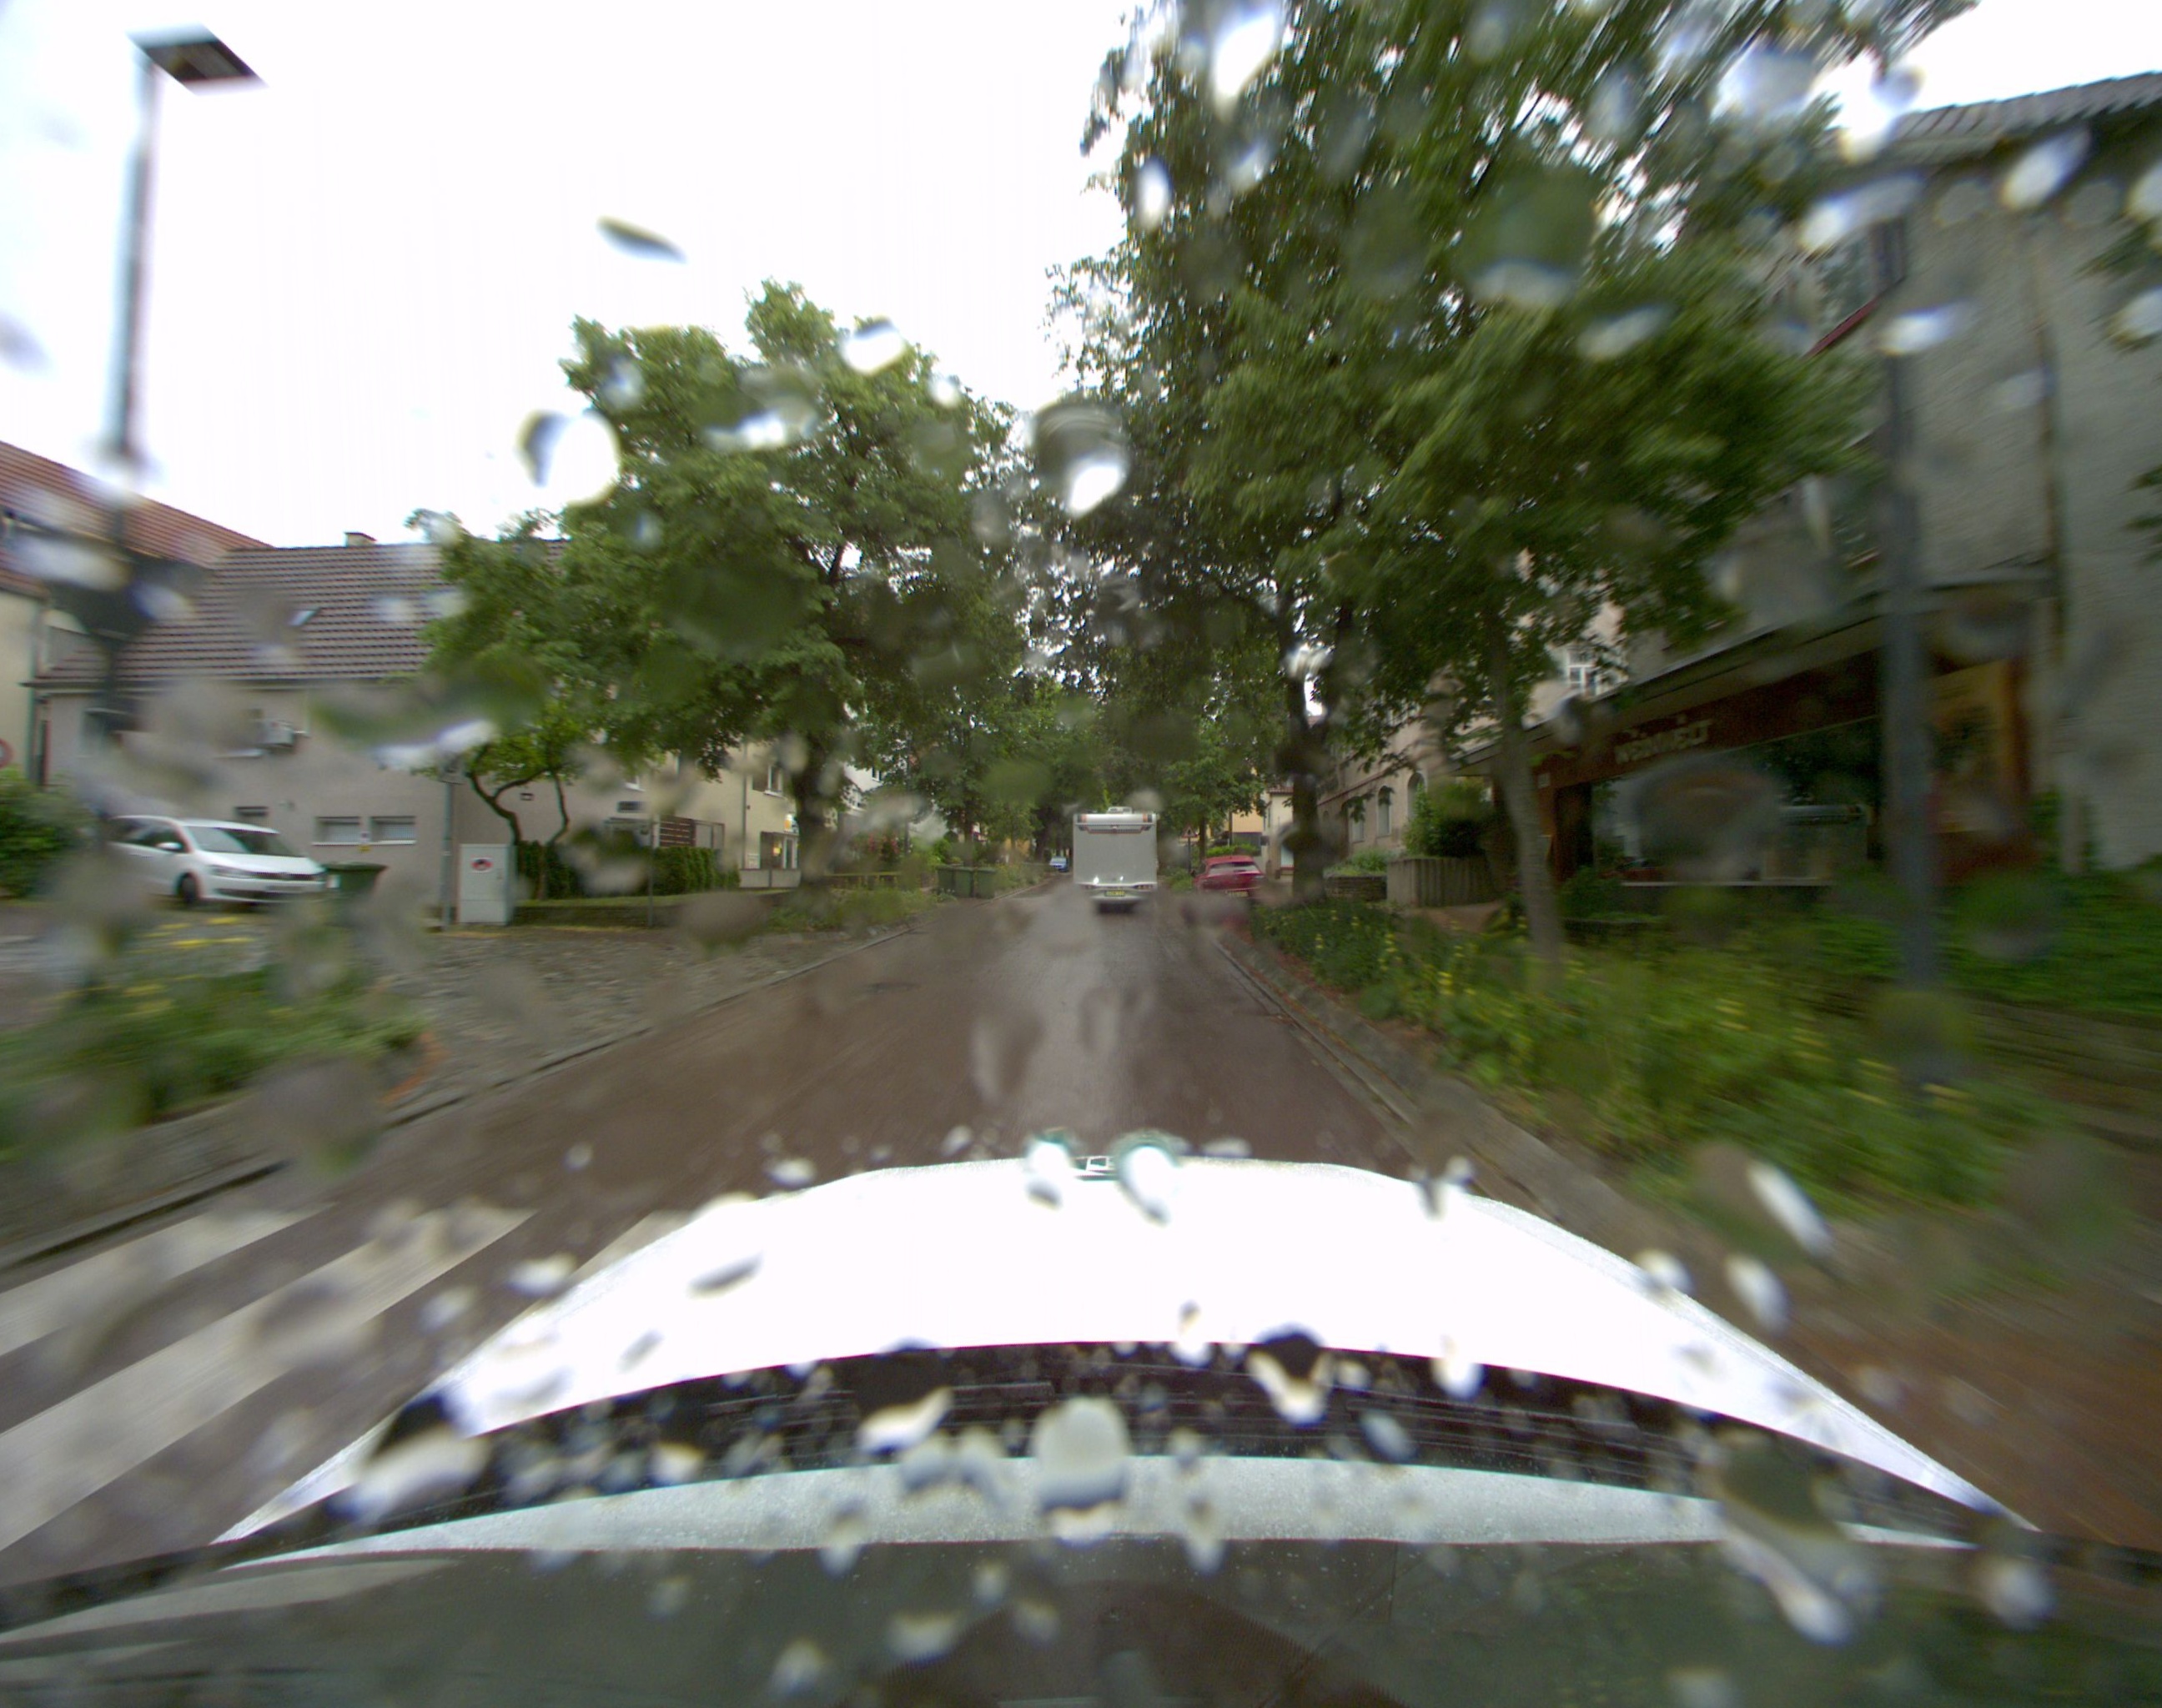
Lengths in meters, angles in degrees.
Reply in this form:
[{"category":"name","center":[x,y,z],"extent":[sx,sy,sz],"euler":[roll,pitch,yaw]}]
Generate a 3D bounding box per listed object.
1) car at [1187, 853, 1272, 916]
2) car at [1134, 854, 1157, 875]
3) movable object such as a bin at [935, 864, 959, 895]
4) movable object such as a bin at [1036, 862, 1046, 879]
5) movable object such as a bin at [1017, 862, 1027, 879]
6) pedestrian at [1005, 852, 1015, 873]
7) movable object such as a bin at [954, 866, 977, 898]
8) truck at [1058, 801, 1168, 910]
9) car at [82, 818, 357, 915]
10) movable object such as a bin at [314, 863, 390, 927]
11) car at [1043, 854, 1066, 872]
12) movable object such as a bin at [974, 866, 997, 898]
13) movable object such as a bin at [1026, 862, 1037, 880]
[{"category":"car","center":[3.859,0.738,21.822],"extent":[1.846,1.472,4.371],"euler":[1,0,5]},{"category":"car","center":[4.853,0.788,61.633],"extent":[1.642,1.542,3.533],"euler":[-1,-1,3]},{"category":"movable object such as a bin","center":[-4.820,0.911,29.332],"extent":[0.667,1.105,0.817],"euler":[-1,-1,2]},{"category":"movable object such as a bin","center":[-2.424,0.998,49.365],"extent":[0.526,1.058,0.562],"euler":[-1,-1,2]},{"category":"movable object such as a bin","center":[-3.581,0.999,49.338],"extent":[0.526,1.058,0.562],"euler":[-1,-1,2]},{"category":"pedestrian","center":[-6.319,0.753,72.422],"extent":[0.814,1.844,0.770],"euler":[-1,-1,1]},{"category":"movable object such as a bin","center":[-4.076,0.977,28.714],"extent":[0.667,1.105,0.817],"euler":[-1,-1,2]},{"category":"truck","center":[0.921,0.092,24.241],"extent":[2.795,2.797,6.109],"euler":[-1,-1,2]},{"category":"car","center":[-16.646,0.204,15.775],"extent":[4.394,1.687,2.010],"euler":[0,-1,19]},{"category":"movable object such as a bin","center":[-12.154,0.671,13.595],"extent":[0.568,1.035,0.742],"euler":[-1,-1,14]},{"category":"car","center":[-2.411,0.823,74.216],"extent":[1.795,1.552,3.991],"euler":[-1,-1,-6]},{"category":"movable object such as a bin","center":[-3.357,0.987,28.685],"extent":[0.667,1.095,0.817],"euler":[-1,-1,2]},{"category":"movable object such as a bin","center":[-2.997,1.012,49.330],"extent":[0.526,1.058,0.562],"euler":[-1,-1,2]}]
